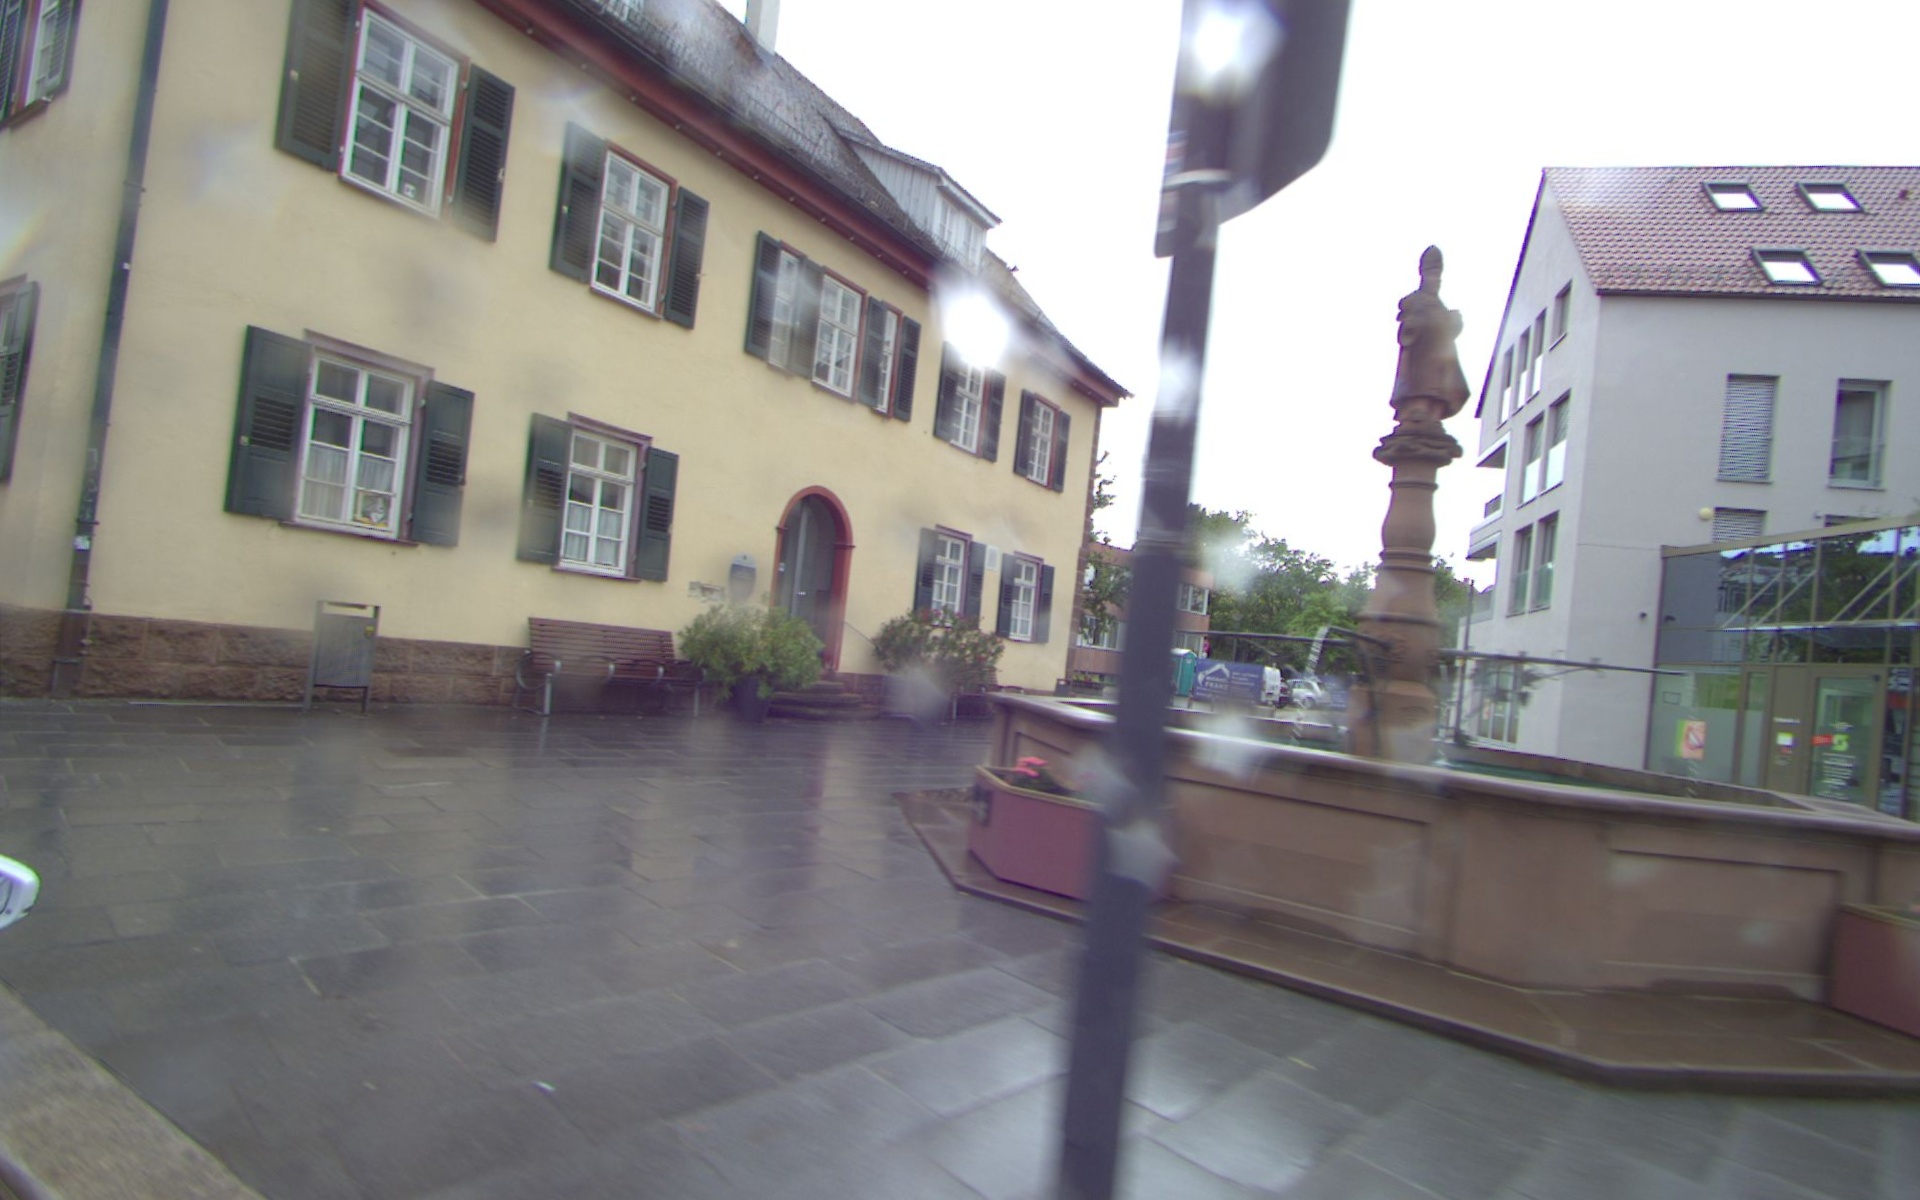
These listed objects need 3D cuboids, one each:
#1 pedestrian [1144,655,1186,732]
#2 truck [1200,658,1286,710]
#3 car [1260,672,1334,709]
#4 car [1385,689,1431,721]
[{"bbox_3d":[5.182,2.353,25.464,0.777,1.843,0.687,7,0,6],"label":"pedestrian"},{"bbox_3d":[13.913,4.117,49.487,3.491,2.037,1.860,6,-1,34],"label":"truck"},{"bbox_3d":[18.904,5.068,56.459,3.491,1.566,1.861,6,-1,34],"label":"car"},{"bbox_3d":[23.518,5.517,52.798,1.645,1.379,3.601,6,-2,31],"label":"car"}]
